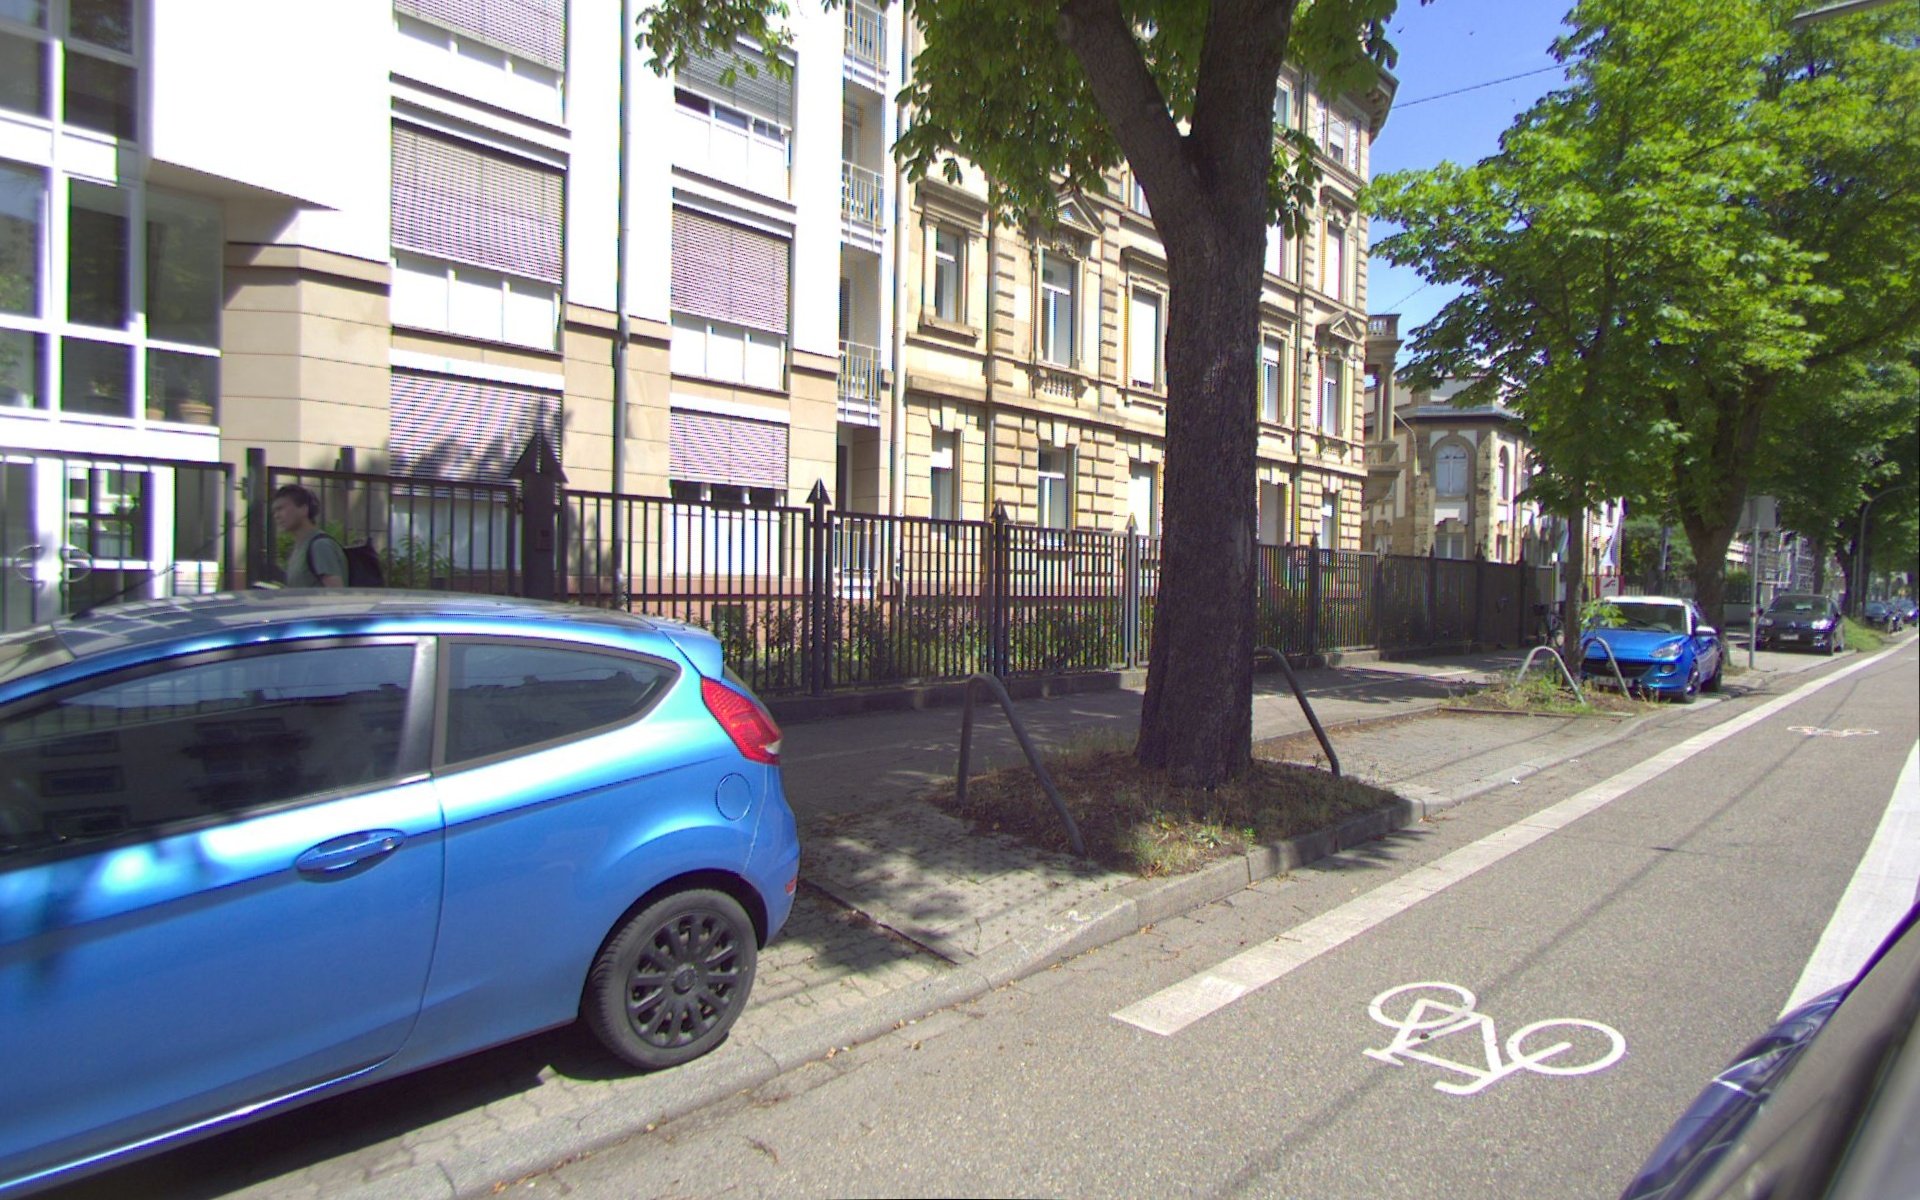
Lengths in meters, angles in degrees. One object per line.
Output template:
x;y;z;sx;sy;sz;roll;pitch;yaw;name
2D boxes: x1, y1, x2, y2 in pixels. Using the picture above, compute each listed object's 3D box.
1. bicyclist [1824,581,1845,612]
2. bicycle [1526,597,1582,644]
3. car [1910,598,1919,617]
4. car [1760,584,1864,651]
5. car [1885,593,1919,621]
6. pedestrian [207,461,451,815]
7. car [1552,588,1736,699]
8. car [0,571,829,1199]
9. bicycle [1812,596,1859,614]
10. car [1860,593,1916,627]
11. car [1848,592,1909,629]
57.513;-0.227;66.571;0.758;2.039;0.809;0;1;-28;bicyclist
14.398;0.474;24.503;1.946;1.084;0.608;0;1;-42;bicycle
76.843;0.599;80.518;3.934;1.420;1.624;0;4;-44;car
23.907;0.442;28.356;4.016;1.635;1.732;0;3;-44;car
52.940;0.396;56.470;3.934;1.420;1.624;0;4;-44;car
-3.618;0.185;5.826;1.066;1.820;0.685;0;1;-44;pedestrian
10.517;0.572;15.475;3.417;1.471;1.692;0;2;-45;car
-2.343;0.662;2.828;3.660;1.461;1.678;0;2;-45;car
57.513;0.333;66.519;0.796;1.109;2.178;0;1;-26;bicycle
43.385;0.434;47.305;3.934;1.420;1.624;0;4;-44;car
39.254;0.436;43.221;3.760;1.420;1.624;0;4;-44;car
